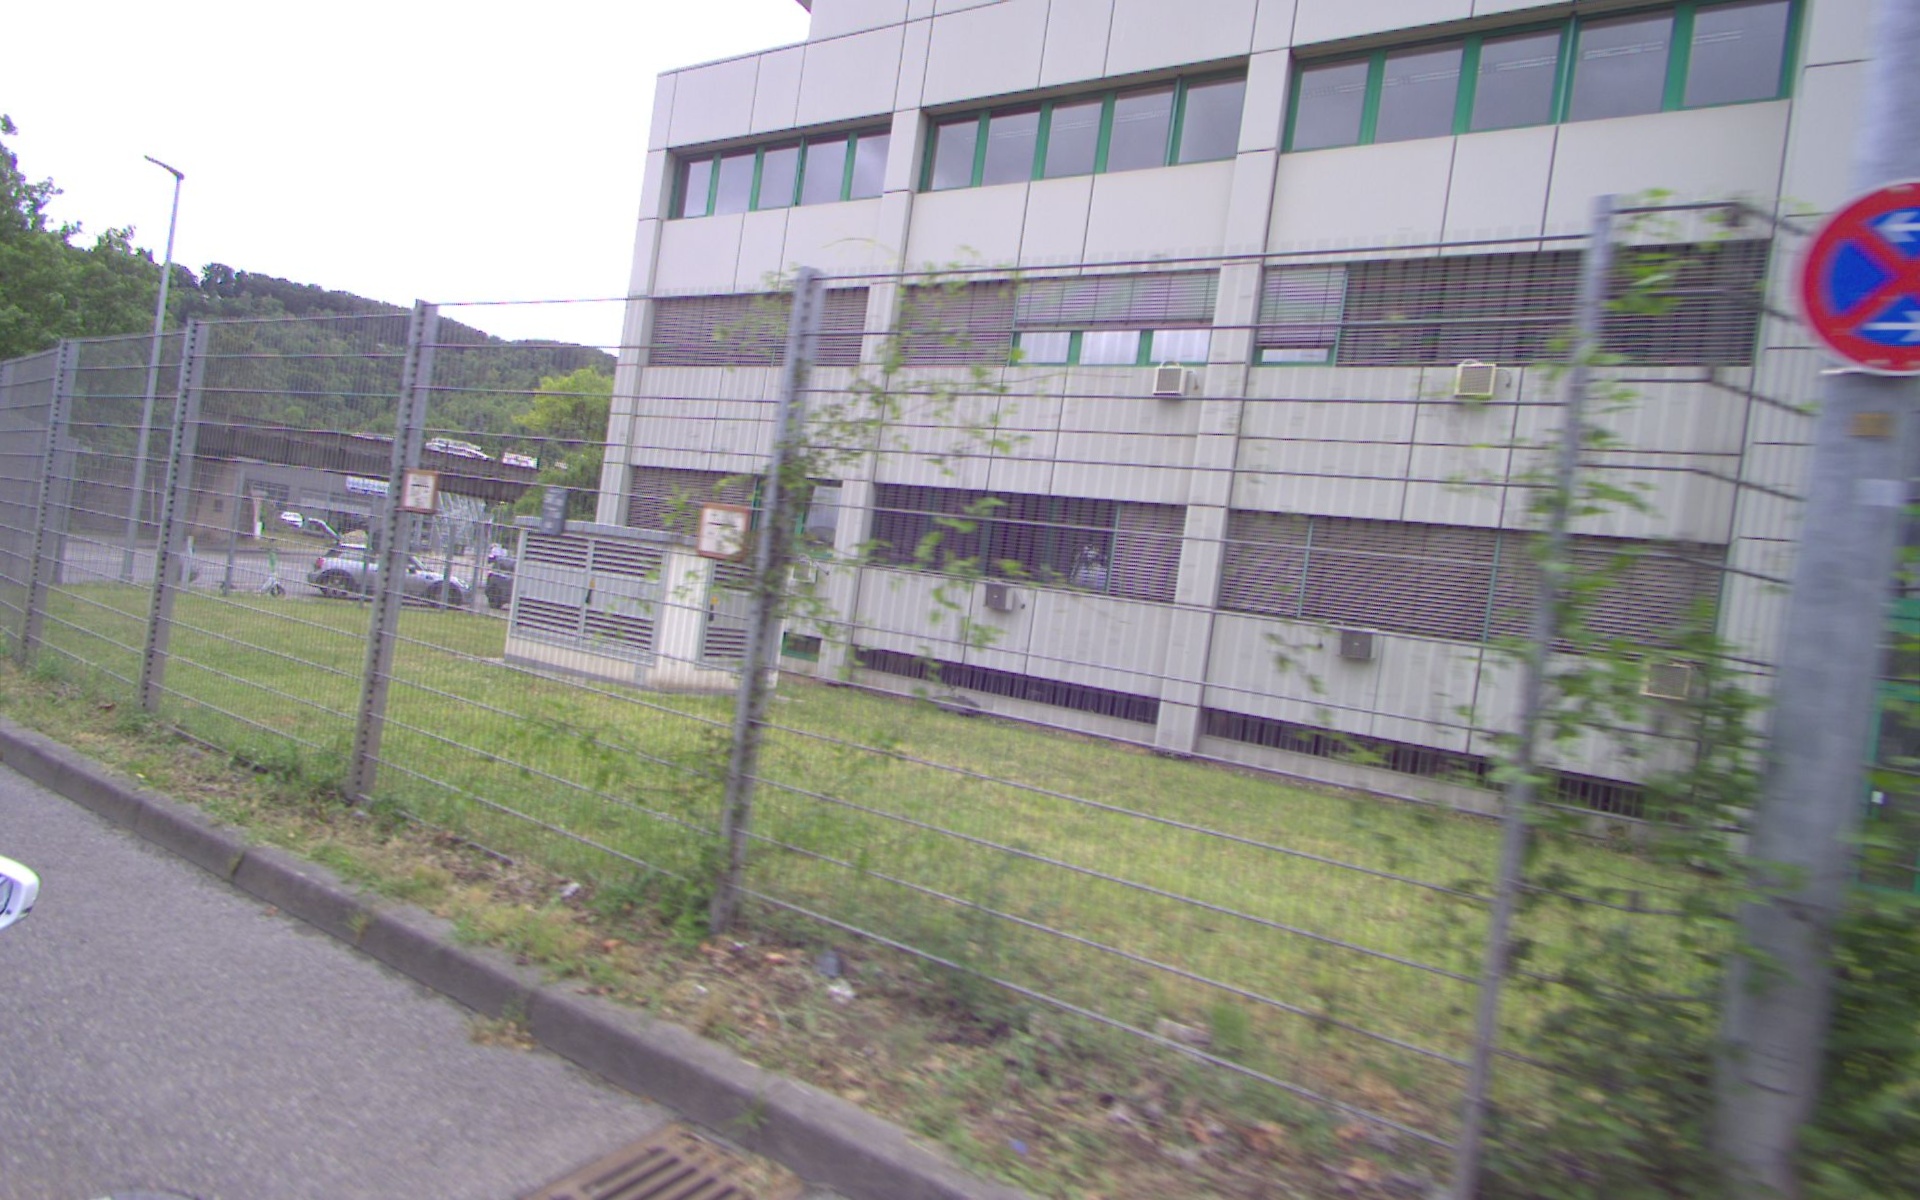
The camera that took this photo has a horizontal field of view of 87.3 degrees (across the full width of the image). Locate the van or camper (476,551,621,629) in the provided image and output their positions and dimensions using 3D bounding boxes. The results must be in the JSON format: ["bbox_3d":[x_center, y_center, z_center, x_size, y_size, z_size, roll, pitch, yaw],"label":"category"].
[{"bbox_3d":[-12.409,-0.321,30.244,4.436,1.713,1.829,7,-2,36],"label":"van or camper"}]

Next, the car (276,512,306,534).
[{"bbox_3d":[-59.390,-6.827,89.326,1.983,1.553,3.963,9,-1,-34],"label":"car"}]

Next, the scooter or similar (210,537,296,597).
[{"bbox_3d":[-15.725,-0.720,22.410,1.396,1.147,0.480,7,0,-10],"label":"scooter or similar"}]

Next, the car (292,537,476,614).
[{"bbox_3d":[-15.264,-0.627,26.713,3.986,1.449,1.769,9,-1,-36],"label":"car"}]
